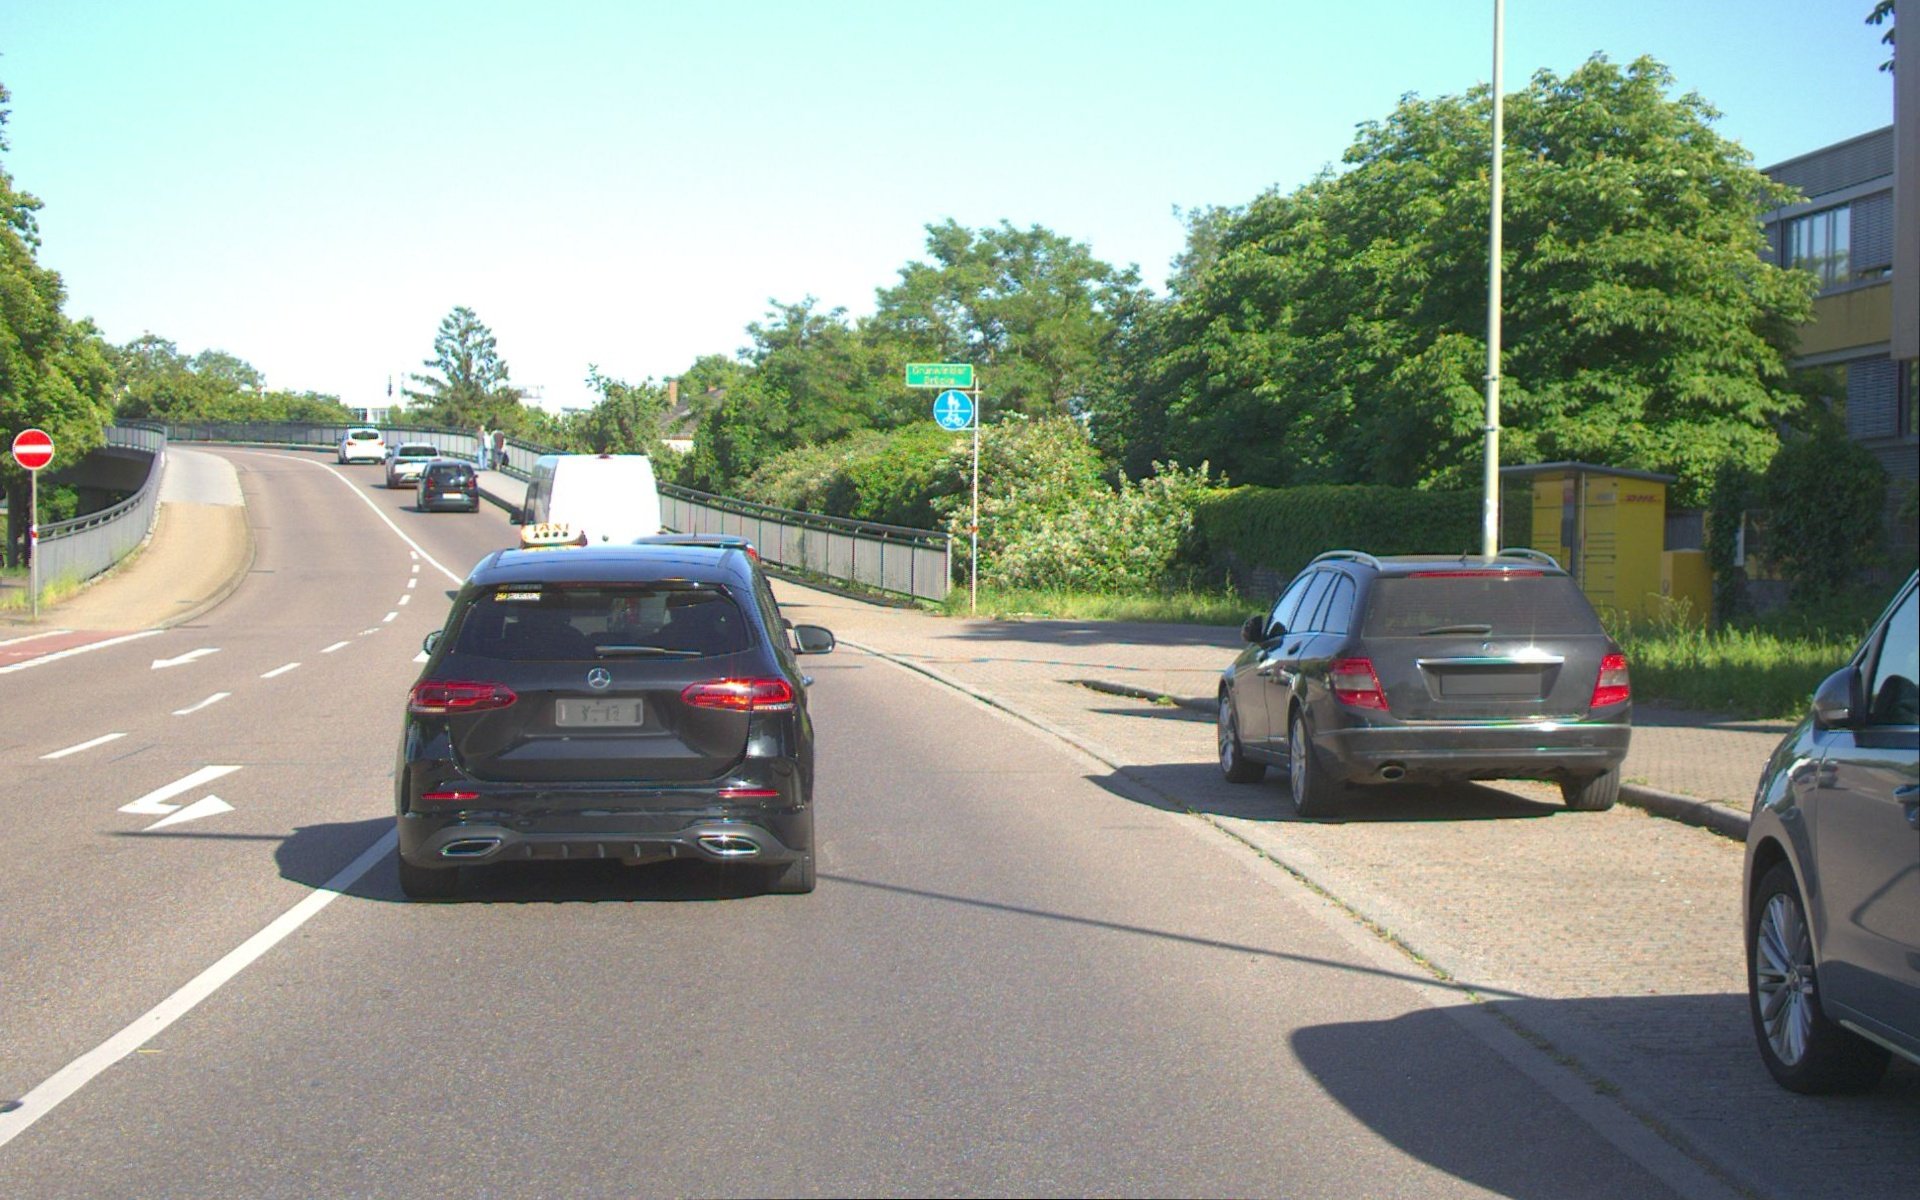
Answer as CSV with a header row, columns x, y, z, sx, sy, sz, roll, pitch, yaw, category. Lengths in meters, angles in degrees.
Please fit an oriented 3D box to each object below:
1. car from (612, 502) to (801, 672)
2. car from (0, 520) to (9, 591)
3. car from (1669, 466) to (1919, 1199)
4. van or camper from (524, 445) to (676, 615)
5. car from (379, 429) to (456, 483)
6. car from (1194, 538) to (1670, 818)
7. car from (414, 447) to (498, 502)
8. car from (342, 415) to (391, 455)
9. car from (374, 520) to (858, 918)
x,y,z,sx,sy,sz,roll,pitch,yaw,category
-2.614,-0.142,35.549,1.804,1.634,4.001,1,0,-4,car
-27.918,-1.239,96.188,1.923,1.984,4.258,1,2,-7,car
3.111,0.537,7.856,1.873,1.716,4.613,-1,1,-2,car
-6.346,-1.251,59.844,2.225,2.729,7.082,1,2,-9,van or camper
-18.258,-4.843,115.805,1.993,1.674,4.000,0,1,-1,car
2.605,0.370,20.061,1.808,1.414,4.425,1,1,-5,car
-14.773,-3.669,100.947,1.918,1.483,4.270,0,1,-1,car
-24.495,-6.790,142.084,1.876,1.538,4.001,1,2,-8,car
-1.467,0.456,16.039,1.770,1.587,3.989,1,1,1,car
